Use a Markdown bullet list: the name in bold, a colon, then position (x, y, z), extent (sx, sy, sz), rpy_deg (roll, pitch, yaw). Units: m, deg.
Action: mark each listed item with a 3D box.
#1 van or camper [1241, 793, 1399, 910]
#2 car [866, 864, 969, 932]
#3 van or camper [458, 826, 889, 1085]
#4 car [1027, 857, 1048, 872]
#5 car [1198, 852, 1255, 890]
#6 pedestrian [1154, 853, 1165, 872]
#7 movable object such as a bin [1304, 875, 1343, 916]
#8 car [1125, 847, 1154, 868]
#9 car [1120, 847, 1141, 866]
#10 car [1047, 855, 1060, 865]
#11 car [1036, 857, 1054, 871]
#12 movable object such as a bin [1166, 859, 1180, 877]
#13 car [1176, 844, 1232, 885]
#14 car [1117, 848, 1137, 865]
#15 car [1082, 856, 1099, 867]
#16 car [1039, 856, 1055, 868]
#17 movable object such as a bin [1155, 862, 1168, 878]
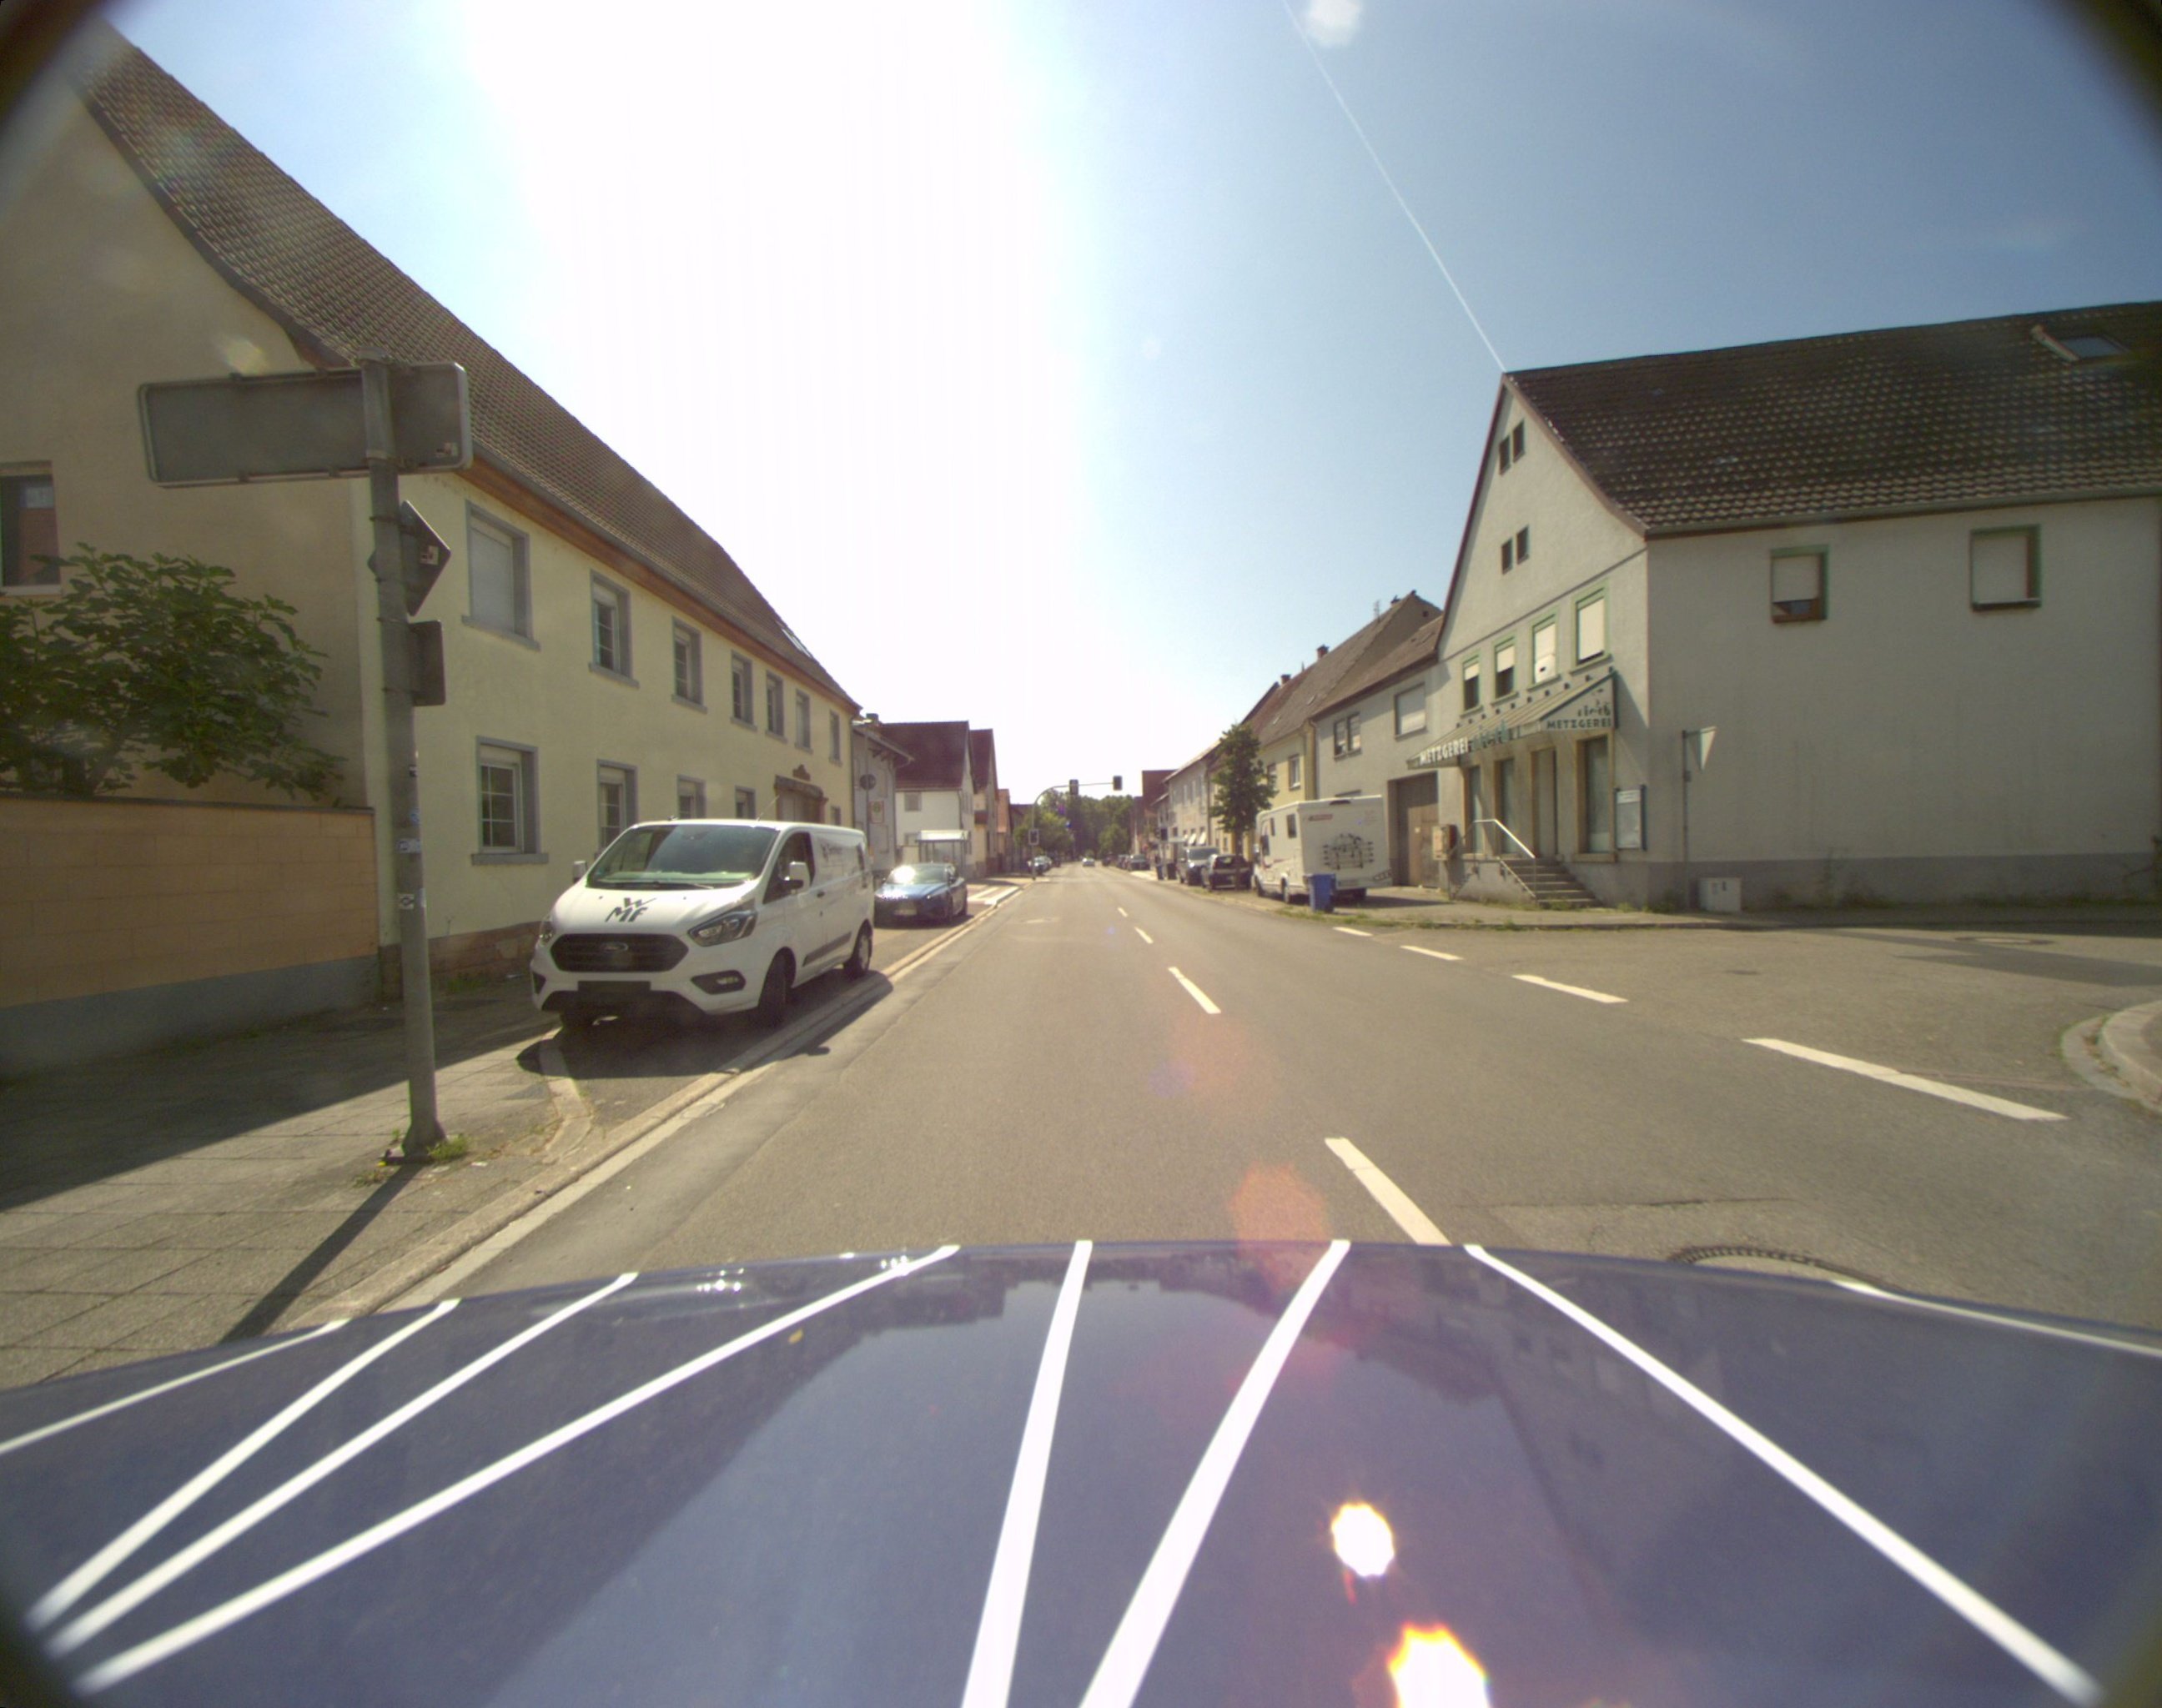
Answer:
- **van or camper**: position (6.860, -0.074, 22.931), extent (2.452, 2.888, 7.066), rpy_deg (-2, 0, 0)
- **car**: position (-3.918, 1.000, 18.856), extent (1.733, 1.419, 3.985), rpy_deg (-2, 0, -2)
- **van or camper**: position (-3.773, 0.764, 8.464), extent (1.999, 1.942, 5.345), rpy_deg (-1, 0, -2)
- **car**: position (-4.560, 1.070, 79.491), extent (1.999, 1.477, 3.999), rpy_deg (-2, 0, -2)
- **car**: position (6.101, 0.679, 32.240), extent (1.689, 1.474, 3.618), rpy_deg (-2, 0, 0)
- **pedestrian**: position (6.214, 0.678, 60.506), extent (0.753, 1.523, 0.581), rpy_deg (-2, 1, -2)
- **movable object such as a bin**: position (5.417, 0.923, 17.021), extent (0.644, 0.867, 0.613), rpy_deg (-2, 1, -1)
- **car**: position (5.404, 0.327, 70.258), extent (2.355, 1.837, 4.956), rpy_deg (-2, 0, 1)
- **car**: position (5.326, 0.256, 81.658), extent (1.998, 1.837, 4.956), rpy_deg (-2, 0, 1)
- **car**: position (-4.425, 0.954, 123.728), extent (1.999, 1.659, 3.999), rpy_deg (-2, 0, -2)
- **car**: position (-4.244, 1.134, 90.032), extent (1.999, 1.477, 3.999), rpy_deg (-2, 0, -2)
- **movable object such as a bin**: position (5.518, 0.847, 45.520), extent (0.718, 1.060, 0.550), rpy_deg (-2, 1, -3)
- **car**: position (6.012, 0.463, 37.674), extent (1.998, 1.837, 4.956), rpy_deg (-2, 0, 1)
- **car**: position (5.181, 0.253, 86.523), extent (1.998, 1.837, 4.956), rpy_deg (-2, 0, 1)
- **car**: position (1.361, 1.056, 108.586), extent (1.998, 1.521, 4.001), rpy_deg (-2, 0, 5)
- **car**: position (-4.597, 1.056, 103.208), extent (1.999, 1.477, 3.999), rpy_deg (-2, 0, -2)
- **movable object such as a bin**: position (4.980, 0.984, 46.874), extent (0.718, 0.907, 0.550), rpy_deg (-2, 1, -3)
